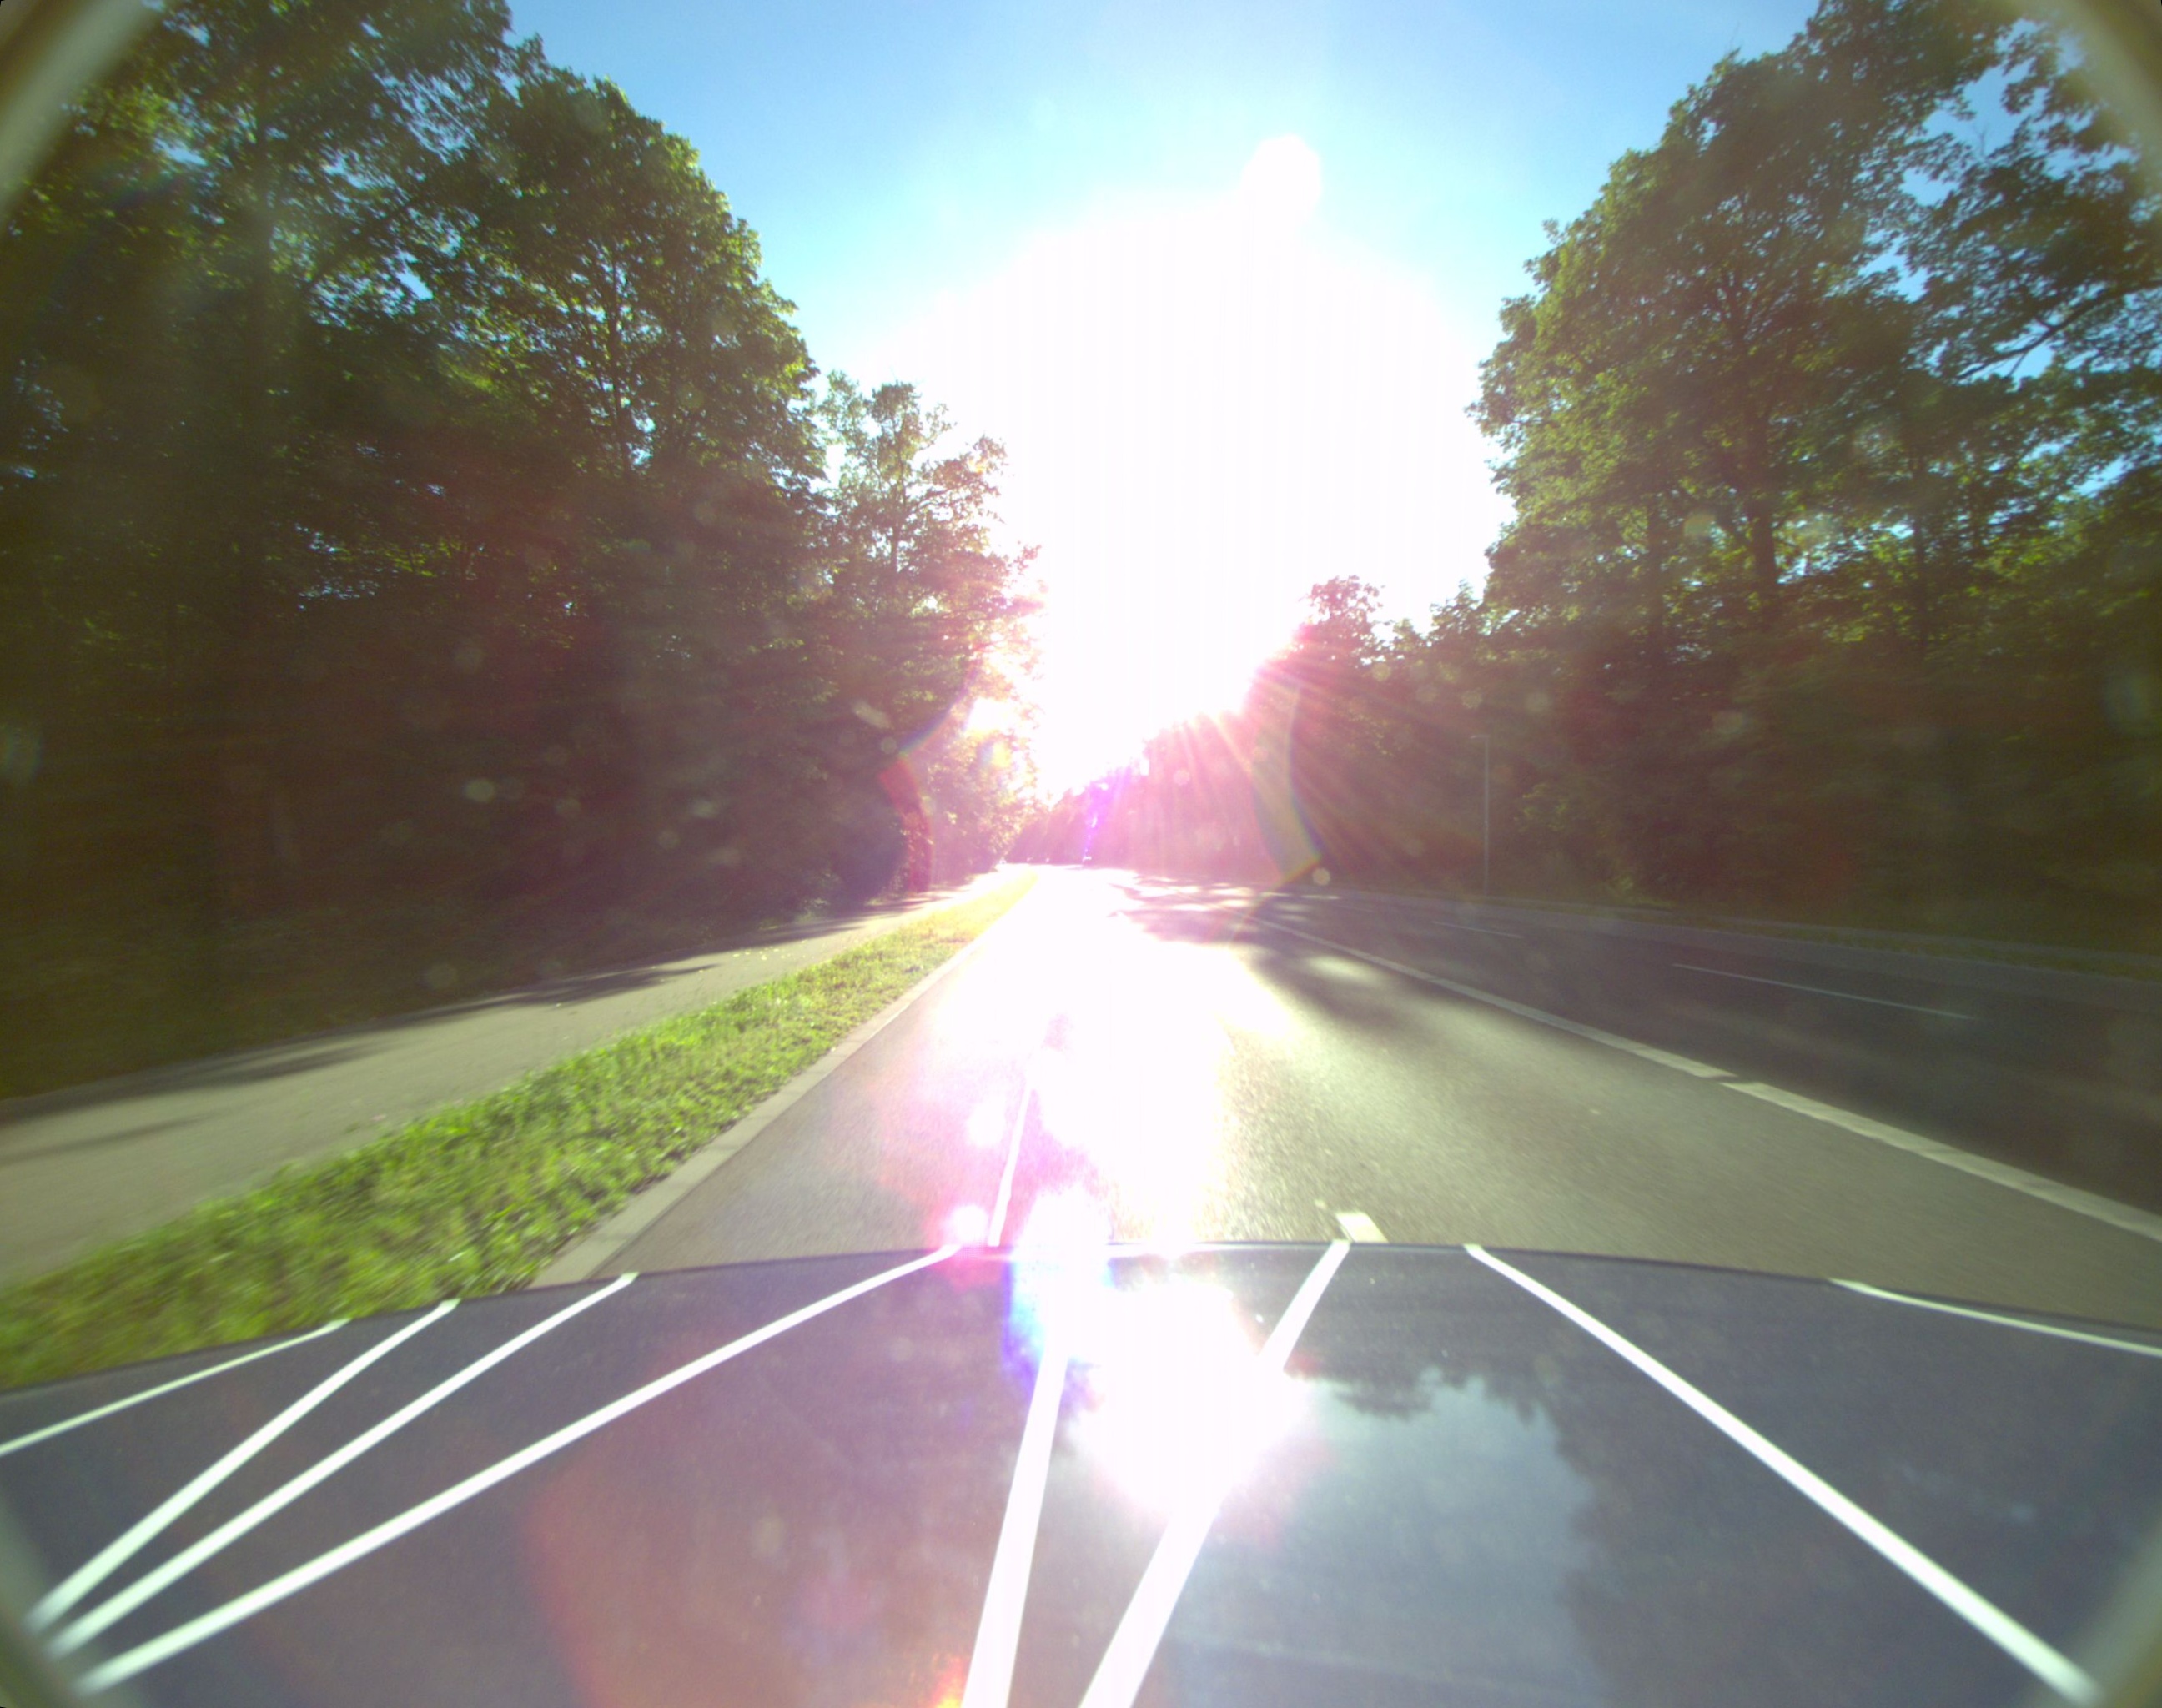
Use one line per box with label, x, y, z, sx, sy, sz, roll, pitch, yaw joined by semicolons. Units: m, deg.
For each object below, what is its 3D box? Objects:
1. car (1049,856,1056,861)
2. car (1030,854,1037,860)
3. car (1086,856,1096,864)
car;-7.470;1.135;198.385;1.715;1.415;4.128;-1;0;-5
car;-14.751;0.908;235.609;1.813;1.653;4.518;-1;0;-9
car;1.772;1.115;139.683;1.499;1.436;3.499;-2;0;-4
